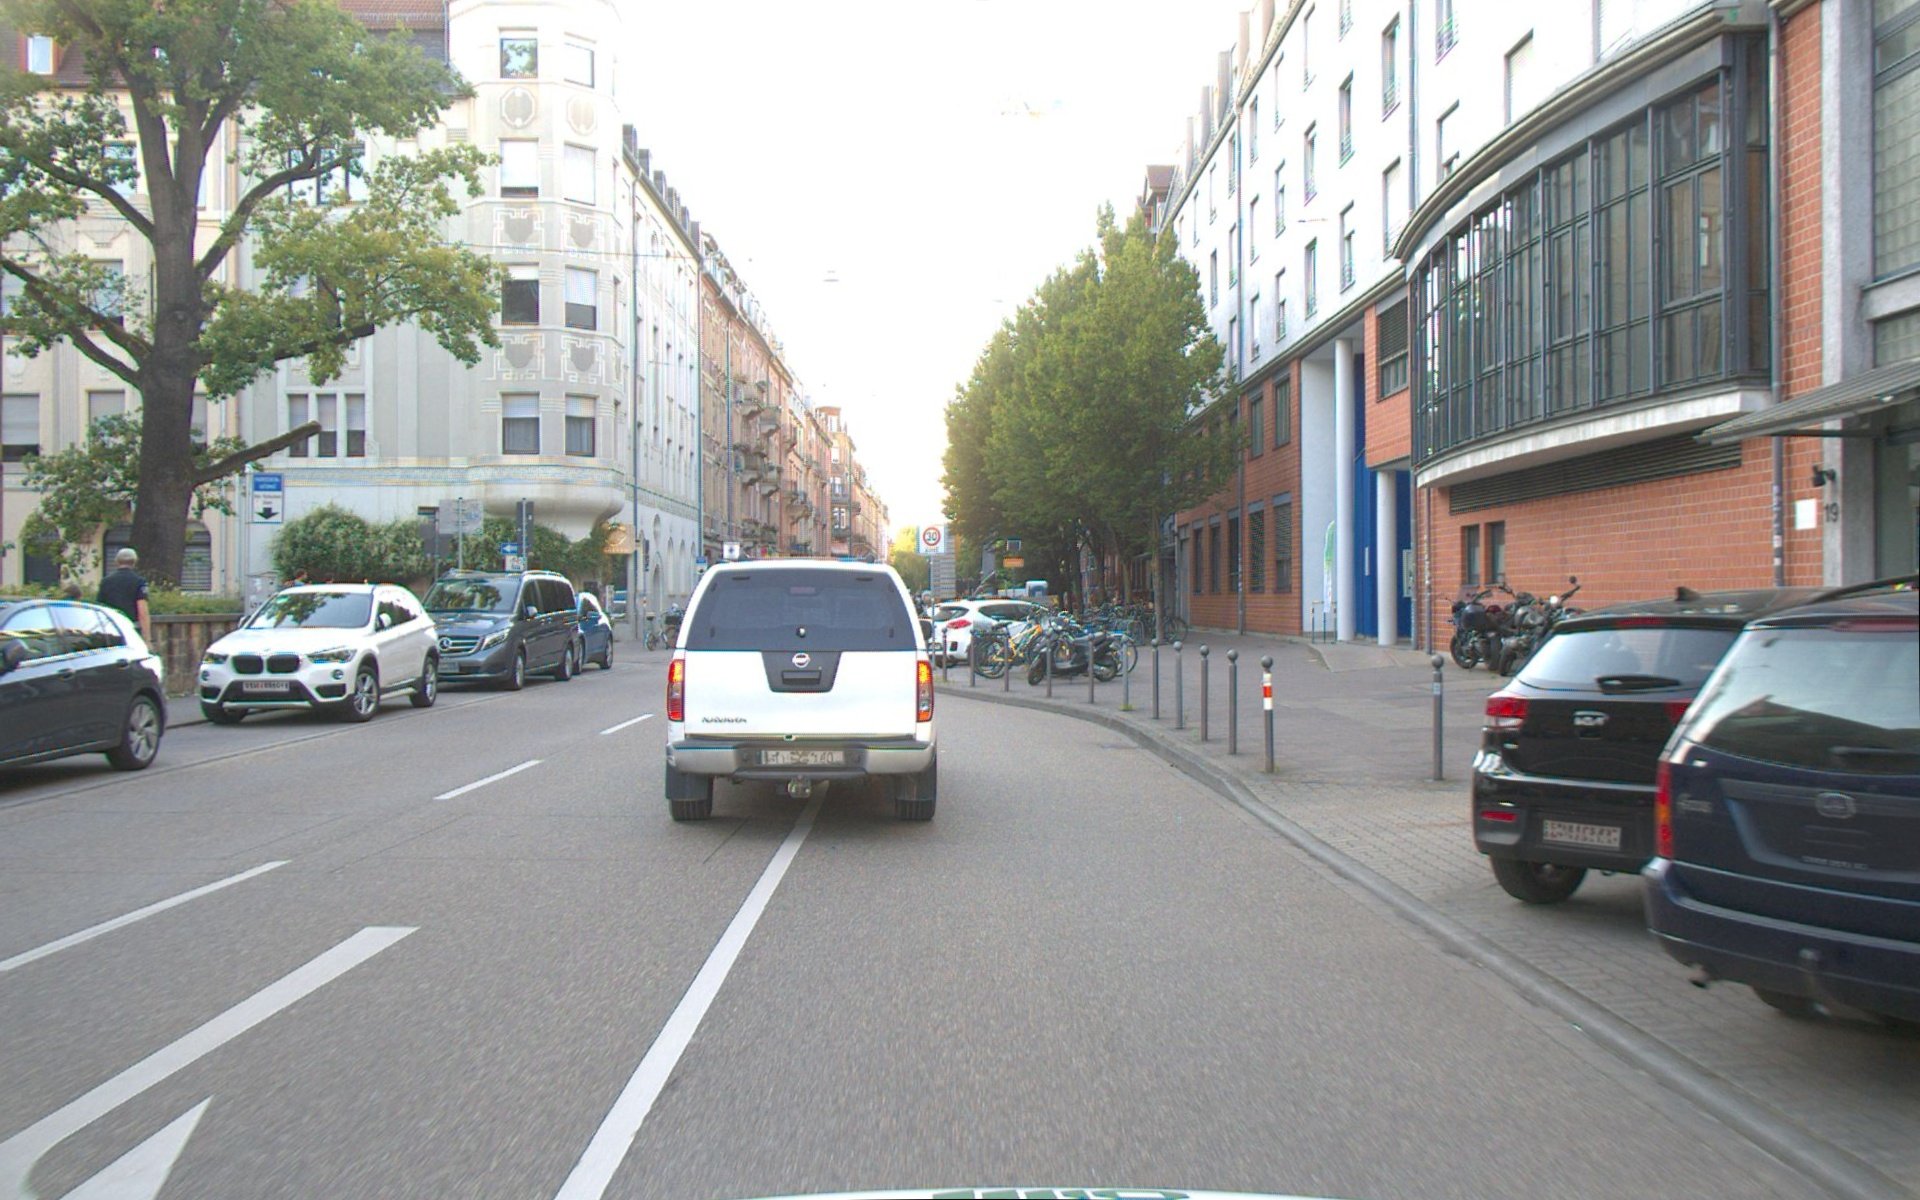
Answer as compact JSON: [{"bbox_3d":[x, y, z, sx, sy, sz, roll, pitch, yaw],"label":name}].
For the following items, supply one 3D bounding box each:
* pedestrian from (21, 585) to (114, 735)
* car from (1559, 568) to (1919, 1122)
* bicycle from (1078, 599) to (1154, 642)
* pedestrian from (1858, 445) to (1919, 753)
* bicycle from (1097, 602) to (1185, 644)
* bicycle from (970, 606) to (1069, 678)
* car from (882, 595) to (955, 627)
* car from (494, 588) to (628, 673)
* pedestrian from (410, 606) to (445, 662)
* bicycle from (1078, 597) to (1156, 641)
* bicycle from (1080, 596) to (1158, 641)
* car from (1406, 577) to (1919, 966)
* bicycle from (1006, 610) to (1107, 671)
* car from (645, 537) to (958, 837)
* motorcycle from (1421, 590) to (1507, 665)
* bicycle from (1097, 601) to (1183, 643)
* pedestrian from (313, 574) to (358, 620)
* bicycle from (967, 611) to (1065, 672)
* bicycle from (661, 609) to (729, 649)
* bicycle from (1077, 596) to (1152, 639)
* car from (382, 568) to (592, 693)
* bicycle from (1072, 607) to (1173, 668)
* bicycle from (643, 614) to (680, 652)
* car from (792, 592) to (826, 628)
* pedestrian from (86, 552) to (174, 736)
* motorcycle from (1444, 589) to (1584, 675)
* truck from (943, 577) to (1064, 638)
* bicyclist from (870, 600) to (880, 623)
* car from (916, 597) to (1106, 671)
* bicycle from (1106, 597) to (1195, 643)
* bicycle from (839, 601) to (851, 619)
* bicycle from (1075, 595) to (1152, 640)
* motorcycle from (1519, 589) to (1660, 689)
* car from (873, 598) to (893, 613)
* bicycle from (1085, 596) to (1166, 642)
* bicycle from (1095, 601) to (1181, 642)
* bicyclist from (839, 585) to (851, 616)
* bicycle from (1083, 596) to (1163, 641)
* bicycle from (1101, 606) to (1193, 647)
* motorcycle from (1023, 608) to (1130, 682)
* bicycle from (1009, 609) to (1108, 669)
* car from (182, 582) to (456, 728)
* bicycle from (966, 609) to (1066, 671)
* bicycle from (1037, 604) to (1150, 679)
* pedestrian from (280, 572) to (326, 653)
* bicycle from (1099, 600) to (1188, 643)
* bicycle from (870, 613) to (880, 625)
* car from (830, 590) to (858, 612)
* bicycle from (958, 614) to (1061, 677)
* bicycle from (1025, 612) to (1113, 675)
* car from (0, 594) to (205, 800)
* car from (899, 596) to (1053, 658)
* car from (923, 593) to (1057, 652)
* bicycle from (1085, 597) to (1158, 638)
[{"bbox_3d":[-9.660,0.634,17.921,0.570,1.579,0.838,1,0,-4],"label":"pedestrian"},{"bbox_3d":[4.376,0.663,5.887,4.294,1.529,1.895,0,0,-29],"label":"car"},{"bbox_3d":[5.177,0.682,54.960,2.482,1.403,0.599,0,0,1],"label":"bicycle"},{"bbox_3d":[6.690,-0.006,11.329,0.594,2.049,0.858,1,0,1],"label":"pedestrian"},{"bbox_3d":[5.233,0.655,47.780,2.482,1.187,0.562,0,0,1],"label":"bicycle"},{"bbox_3d":[1.035,0.734,29.071,1.673,1.196,0.471,-2,0,-3],"label":"bicycle"},{"bbox_3d":[-2.420,0.654,96.959,4.107,1.811,1.820,0,0,5],"label":"car"},{"bbox_3d":[-7.866,0.573,32.949,1.606,1.583,4.005,0,0,1],"label":"car"},{"bbox_3d":[-14.478,0.916,44.979,0.687,1.495,0.783,-1,0,-2],"label":"pedestrian"},{"bbox_3d":[5.144,0.631,54.208,2.482,1.403,0.599,0,0,1],"label":"bicycle"},{"bbox_3d":[5.127,0.594,53.425,2.482,1.403,0.599,0,0,1],"label":"bicycle"},{"bbox_3d":[4.277,0.661,8.266,4.017,1.518,1.705,0,0,-32],"label":"car"},{"bbox_3d":[1.789,0.753,30.751,1.820,1.056,0.402,-2,0,-3],"label":"bicycle"},{"bbox_3d":[-1.028,0.476,12.443,1.894,1.825,4.621,1,1,-1],"label":"car"},{"bbox_3d":[8.064,0.433,26.546,0.576,1.122,2.082,-3,0,-4],"label":"motorcycle"},{"bbox_3d":[5.265,0.645,48.437,2.482,1.187,0.562,0,0,1],"label":"bicycle"},{"bbox_3d":[-13.721,-0.065,36.356,0.692,0.997,0.836,-1,0,-3],"label":"pedestrian"},{"bbox_3d":[1.070,0.784,31.775,1.820,1.084,0.445,-2,0,-3],"label":"bicycle"},{"bbox_3d":[-7.808,0.849,48.695,2.068,1.114,0.501,1,1,24],"label":"bicycle"},{"bbox_3d":[5.184,0.580,55.652,2.482,1.403,0.599,0,0,1],"label":"bicycle"},{"bbox_3d":[-7.786,0.454,27.821,1.952,1.899,5.290,0,0,1],"label":"car"},{"bbox_3d":[3.085,0.711,31.462,1.820,1.084,0.524,-2,0,-3],"label":"bicycle"},{"bbox_3d":[-8.615,0.940,47.763,0.414,1.030,1.720,0,1,13],"label":"bicycle"},{"bbox_3d":[-8.456,0.548,92.830,1.527,1.955,3.855,2,0,-1],"label":"car"},{"bbox_3d":[-8.994,0.464,17.943,0.570,1.939,0.802,0,0,-4],"label":"pedestrian"},{"bbox_3d":[8.039,0.456,24.133,0.762,1.159,2.408,-2,0,-13],"label":"motorcycle"},{"bbox_3d":[2.266,0.397,86.305,6.190,3.029,2.264,0,-3,0],"label":"truck"},{"bbox_3d":[-6.913,0.916,134.561,0.784,1.882,0.943,0,0,-3],"label":"bicyclist"},{"bbox_3d":[1.149,0.722,36.972,3.945,1.533,1.752,-1,0,-30],"label":"car"},{"bbox_3d":[5.211,0.545,45.335,2.298,1.118,0.680,-4,0,1],"label":"bicycle"},{"bbox_3d":[-6.509,0.561,93.555,0.602,1.058,1.903,0,0,-1],"label":"bicycle"},{"bbox_3d":[5.209,0.584,56.360,2.483,1.266,0.599,-6,0,1],"label":"bicycle"},{"bbox_3d":[7.971,0.467,21.073,0.783,1.159,2.439,-3,0,-1],"label":"motorcycle"},{"bbox_3d":[-8.206,0.596,175.714,1.808,1.579,4.356,0,0,2],"label":"car"},{"bbox_3d":[5.210,0.598,52.052,2.482,1.403,0.599,0,0,1],"label":"bicycle"},{"bbox_3d":[5.272,0.642,49.048,2.482,1.187,0.562,0,0,1],"label":"bicycle"},{"bbox_3d":[-6.509,0.032,93.535,0.590,1.714,1.142,0,0,0],"label":"bicyclist"},{"bbox_3d":[5.192,0.600,52.748,2.482,1.403,0.599,0,0,1],"label":"bicycle"},{"bbox_3d":[5.250,0.743,46.541,2.482,0.976,0.680,-4,0,1],"label":"bicycle"},{"bbox_3d":[1.917,0.736,27.225,1.614,1.121,0.646,-3,0,-10],"label":"motorcycle"},{"bbox_3d":[1.946,0.766,32.647,1.873,1.084,0.524,-2,0,-3],"label":"bicycle"},{"bbox_3d":[-7.832,0.614,20.698,1.833,1.619,4.466,0,0,-2],"label":"car"},{"bbox_3d":[1.048,0.753,31.172,1.820,1.084,0.445,-2,0,-3],"label":"bicycle"},{"bbox_3d":[2.282,0.704,28.396,1.821,1.166,0.659,-4,0,-1],"label":"bicycle"},{"bbox_3d":[-14.429,0.278,36.320,0.692,1.751,0.836,-1,0,-3],"label":"pedestrian"},{"bbox_3d":[5.224,0.611,47.164,2.482,1.187,0.562,0,0,1],"label":"bicycle"},{"bbox_3d":[-6.904,1.513,134.466,0.784,0.963,2.003,0,0,-3],"label":"bicycle"},{"bbox_3d":[-8.531,0.067,122.049,1.755,1.557,4.000,0,0,0],"label":"car"},{"bbox_3d":[0.894,0.824,30.161,1.820,1.056,0.471,-2,0,-3],"label":"bicycle"},{"bbox_3d":[1.949,0.773,29.683,1.509,1.056,0.471,-2,0,-3],"label":"bicycle"},{"bbox_3d":[-7.677,0.696,12.690,1.746,1.460,4.316,0,0,1],"label":"car"},{"bbox_3d":[0.450,0.699,44.841,3.948,1.564,1.618,-1,0,-32],"label":"car"},{"bbox_3d":[0.885,0.628,47.603,3.562,1.608,1.696,-1,0,-34],"label":"car"},{"bbox_3d":[5.603,0.592,57.527,2.482,1.403,0.599,0,0,1],"label":"bicycle"}]
